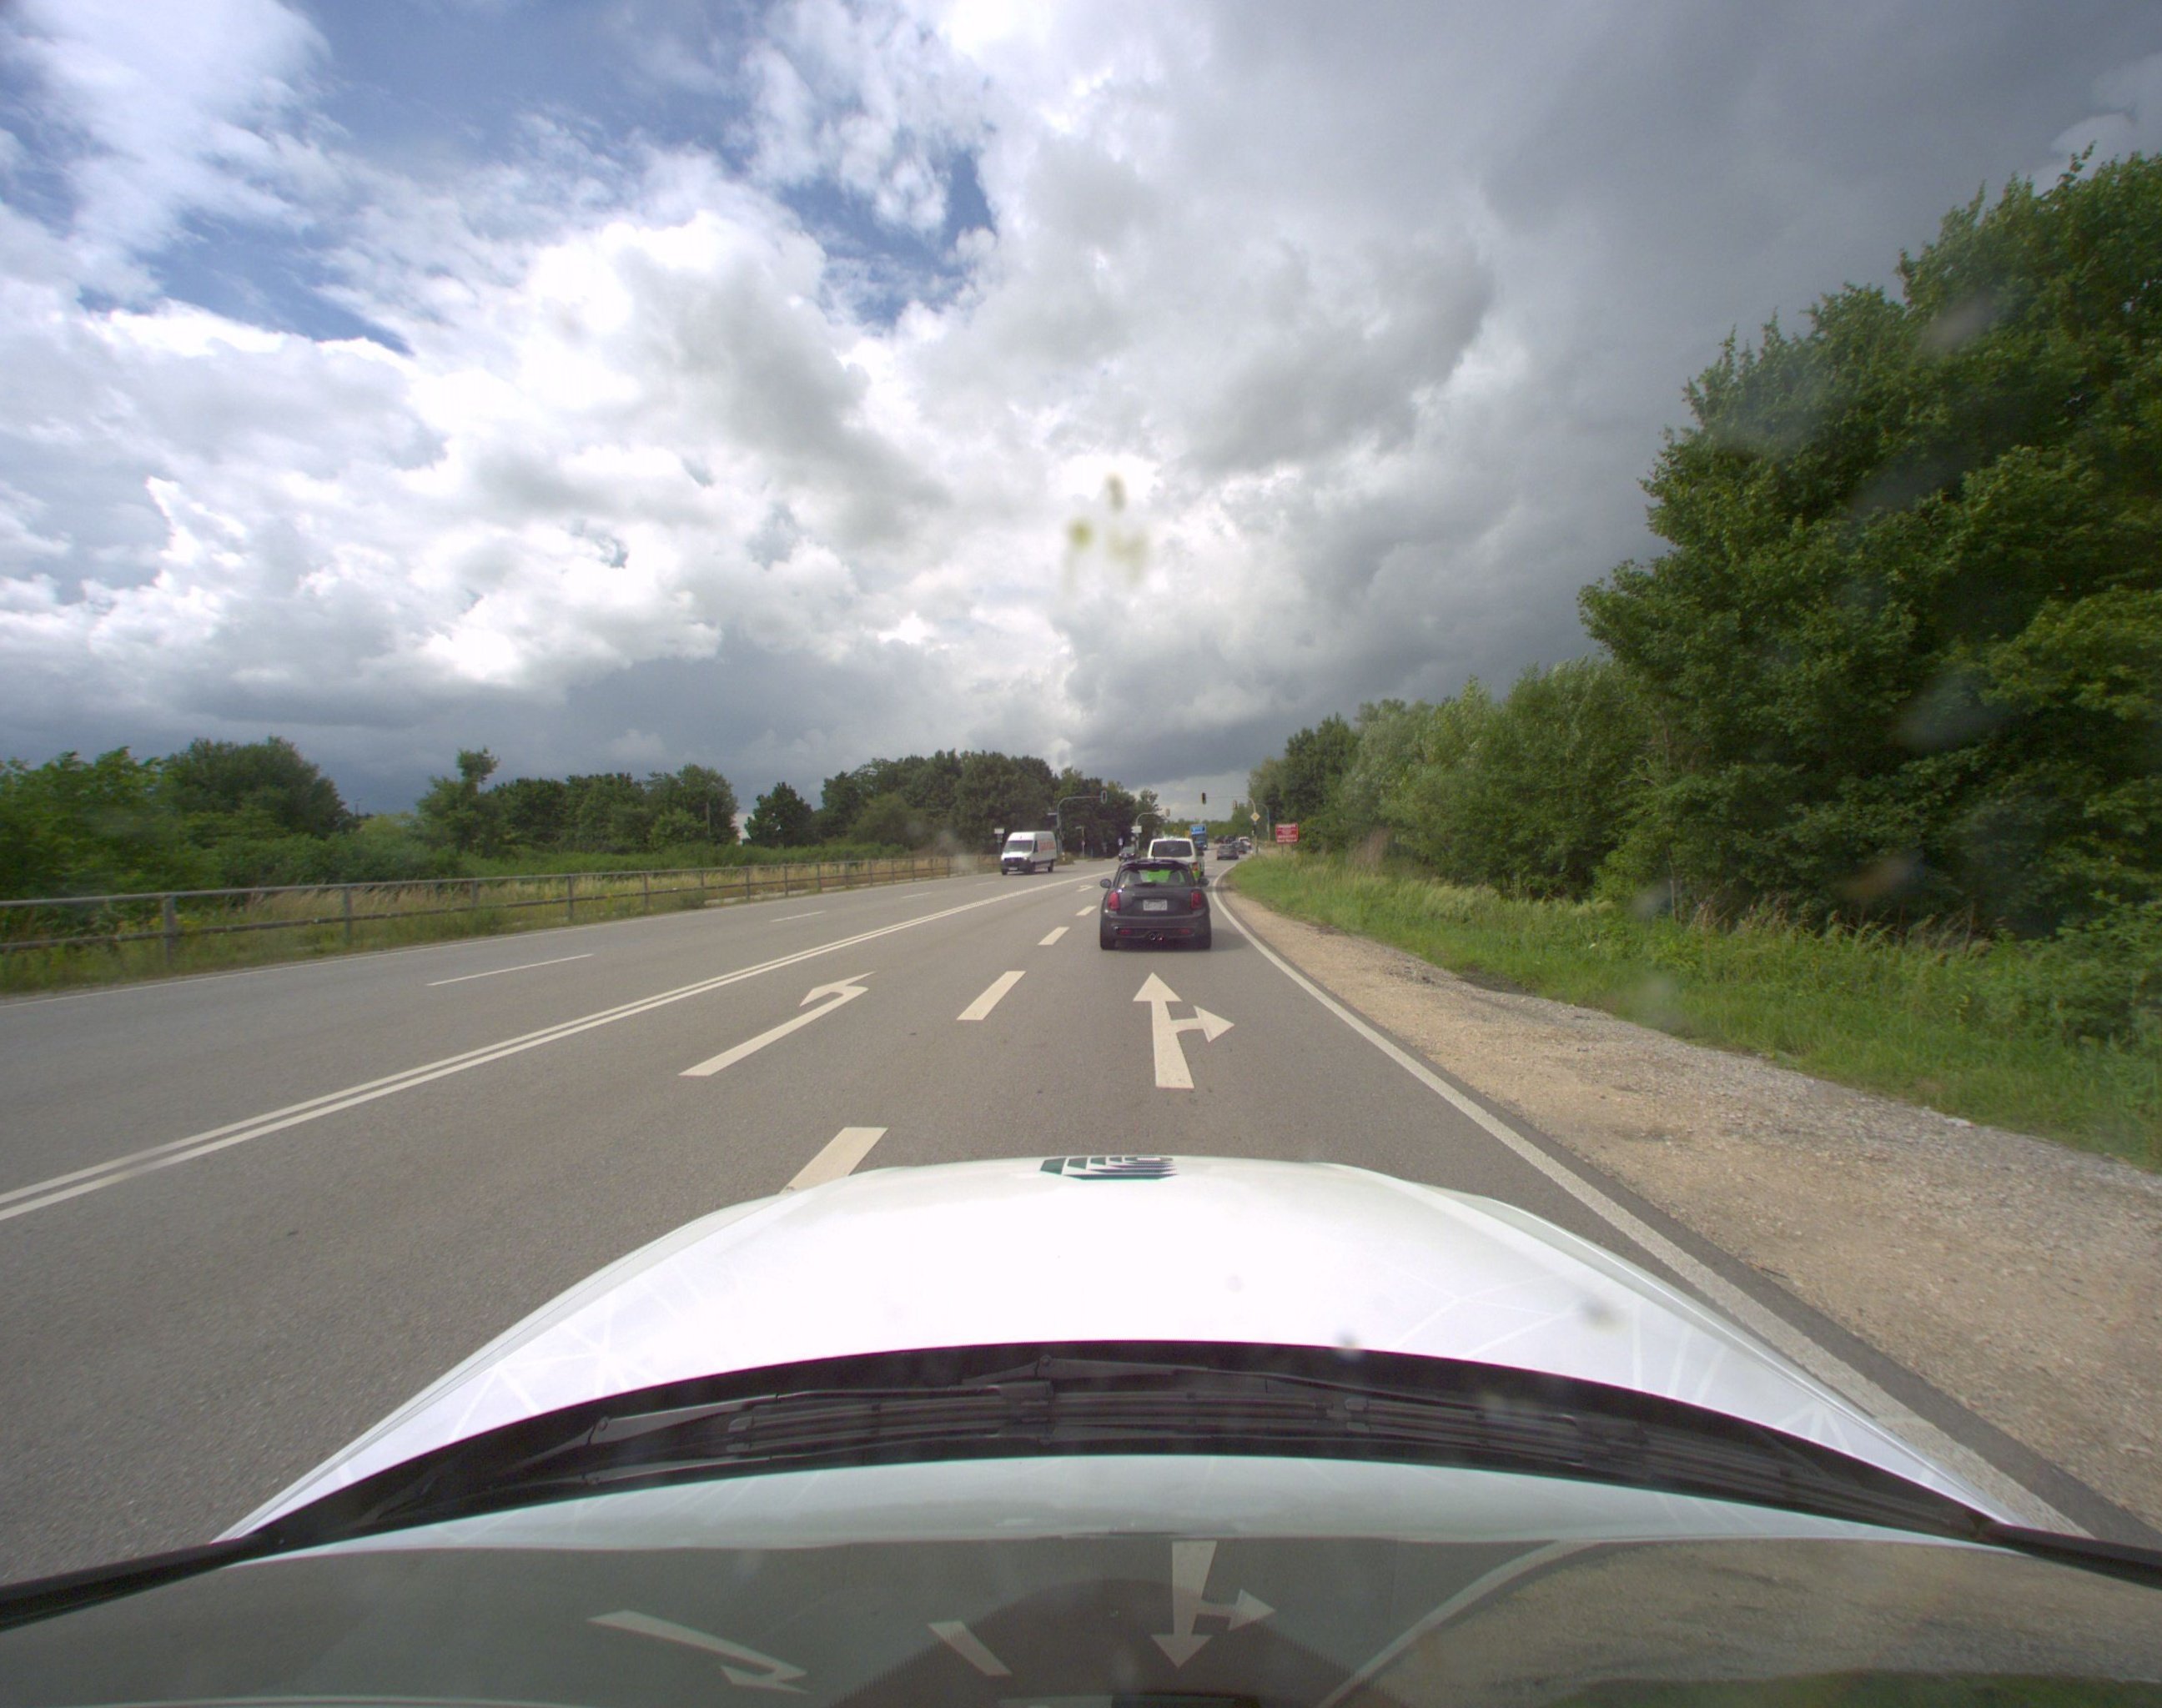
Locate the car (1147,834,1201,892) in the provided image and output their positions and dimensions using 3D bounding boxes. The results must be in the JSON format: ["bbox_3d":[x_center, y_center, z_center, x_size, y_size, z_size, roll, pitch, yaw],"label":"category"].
[{"bbox_3d":[3.479,0.299,30.369,1.835,1.987,3.849,-1,0,7],"label":"car"}]

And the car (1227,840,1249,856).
[{"bbox_3d":[17.936,-0.629,93.155,1.977,1.684,3.995,0,-1,18],"label":"car"}]

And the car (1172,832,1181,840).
[{"bbox_3d":[27.532,-5.212,235.960,2.173,2.014,4.000,-1,-1,1],"label":"car"}]

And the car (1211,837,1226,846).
[{"bbox_3d":[27.714,-2.485,164.510,1.988,1.695,4.482,-1,0,-2],"label":"car"}]

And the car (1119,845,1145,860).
[{"bbox_3d":[5.349,-0.162,85.298,1.932,1.441,4.015,-1,0,14],"label":"car"}]

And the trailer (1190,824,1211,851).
[{"bbox_3d":[18.953,-2.606,128.758,2.510,4.100,6.760,-1,0,13],"label":"trailer"}]

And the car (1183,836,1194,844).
[{"bbox_3d":[26.175,-3.460,198.226,1.988,1.787,4.482,-2,1,-2],"label":"car"}]

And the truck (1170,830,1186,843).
[{"bbox_3d":[25.546,-4.616,214.991,2.711,2.898,8.761,-1,-1,-3],"label":"truck"}]

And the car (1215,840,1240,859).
[{"bbox_3d":[13.592,-0.355,75.532,1.979,1.684,4.016,0,-1,15],"label":"car"}]

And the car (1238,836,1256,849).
[{"bbox_3d":[22.436,-1.564,109.939,1.978,1.684,4.018,0,-1,18],"label":"car"}]

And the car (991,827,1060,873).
[{"bbox_3d":[-3.373,-0.229,51.570,2.417,2.674,6.912,-1,0,13],"label":"car"}]

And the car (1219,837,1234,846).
[{"bbox_3d":[26.416,-2.240,147.657,1.986,1.695,4.488,-1,0,2],"label":"car"}]

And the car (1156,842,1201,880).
[{"bbox_3d":[4.823,0.346,39.712,1.982,1.684,4.010,-1,-1,9],"label":"car"}]

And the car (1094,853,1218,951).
[{"bbox_3d":[1.208,0.714,14.086,1.837,1.428,3.844,-1,0,2],"label":"car"}]

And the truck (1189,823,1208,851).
[{"bbox_3d":[18.114,-2.572,125.260,2.522,4.096,4.015,-1,0,13],"label":"truck"}]
